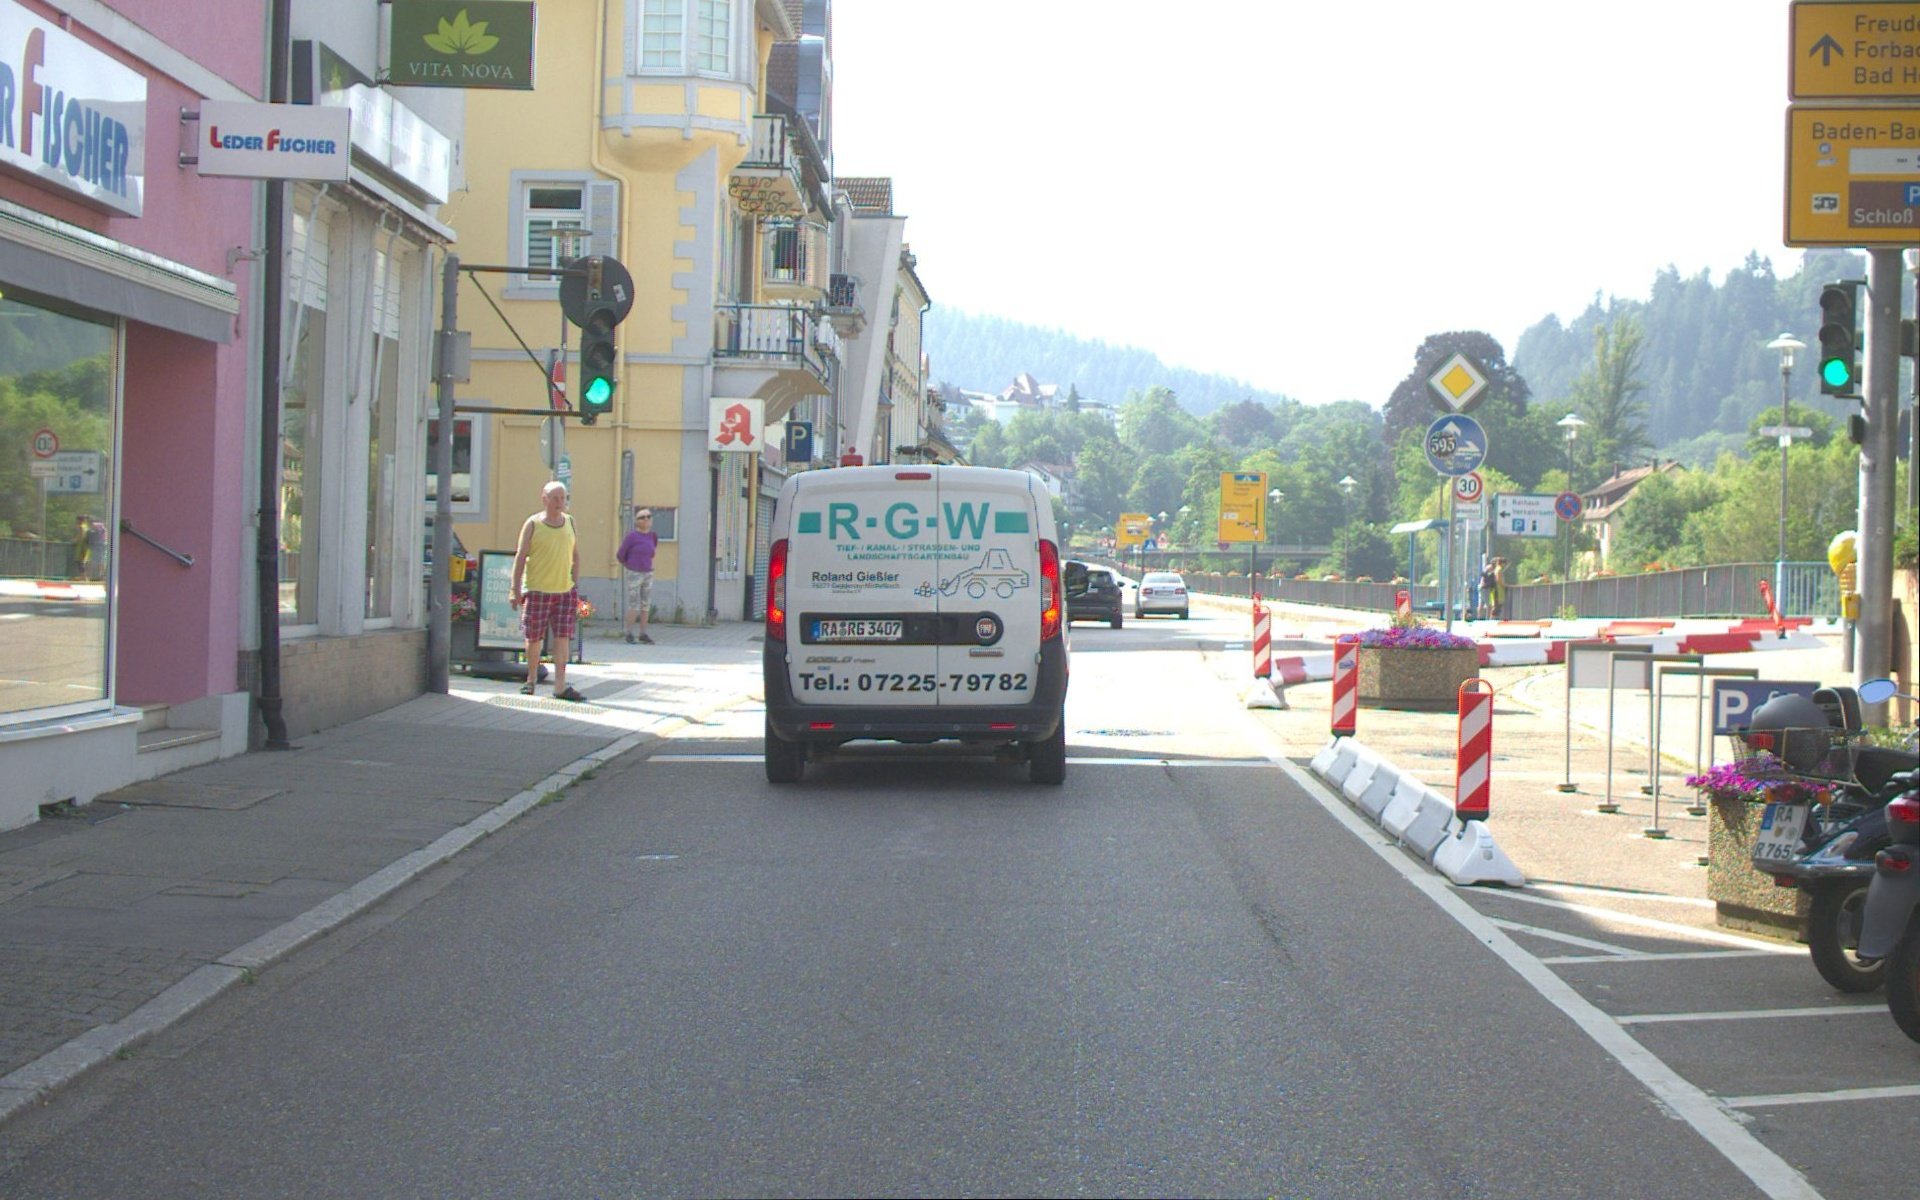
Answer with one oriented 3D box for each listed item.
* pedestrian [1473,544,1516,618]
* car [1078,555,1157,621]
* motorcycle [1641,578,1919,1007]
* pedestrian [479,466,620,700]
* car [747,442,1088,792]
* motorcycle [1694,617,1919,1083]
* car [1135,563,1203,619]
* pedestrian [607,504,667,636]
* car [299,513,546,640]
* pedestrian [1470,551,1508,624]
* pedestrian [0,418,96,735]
[{"bbox_3d":[12.509,-0.447,80.493,0.867,1.700,0.777,1,0,3],"label":"pedestrian"},{"bbox_3d":[4.187,-0.337,91.804,1.993,1.656,4.000,2,1,2],"label":"car"},{"bbox_3d":[3.377,0.613,11.871,1.894,1.353,0.917,0,1,-34],"label":"motorcycle"},{"bbox_3d":[-3.393,-0.150,28.333,0.904,1.809,1.021,6,1,-11],"label":"pedestrian"},{"bbox_3d":[-0.200,0.045,21.352,1.844,1.899,4.315,2,1,1],"label":"car"},{"bbox_3d":[3.282,0.697,10.434,2.085,1.265,0.929,0,1,-39],"label":"motorcycle"},{"bbox_3d":[6.658,-0.303,109.850,1.993,1.656,4.000,2,1,2],"label":"car"},{"bbox_3d":[-4.272,-0.402,45.497,0.678,1.709,0.617,2,1,2],"label":"pedestrian"},{"bbox_3d":[-7.507,-0.350,47.727,1.917,1.537,3.959,2,2,-32],"label":"car"},{"bbox_3d":[12.479,-0.301,81.132,0.789,1.700,0.491,1,0,4],"label":"pedestrian"},{"bbox_3d":[-5.224,-0.136,18.981,0.713,1.716,0.674,0,1,-29],"label":"pedestrian"}]
